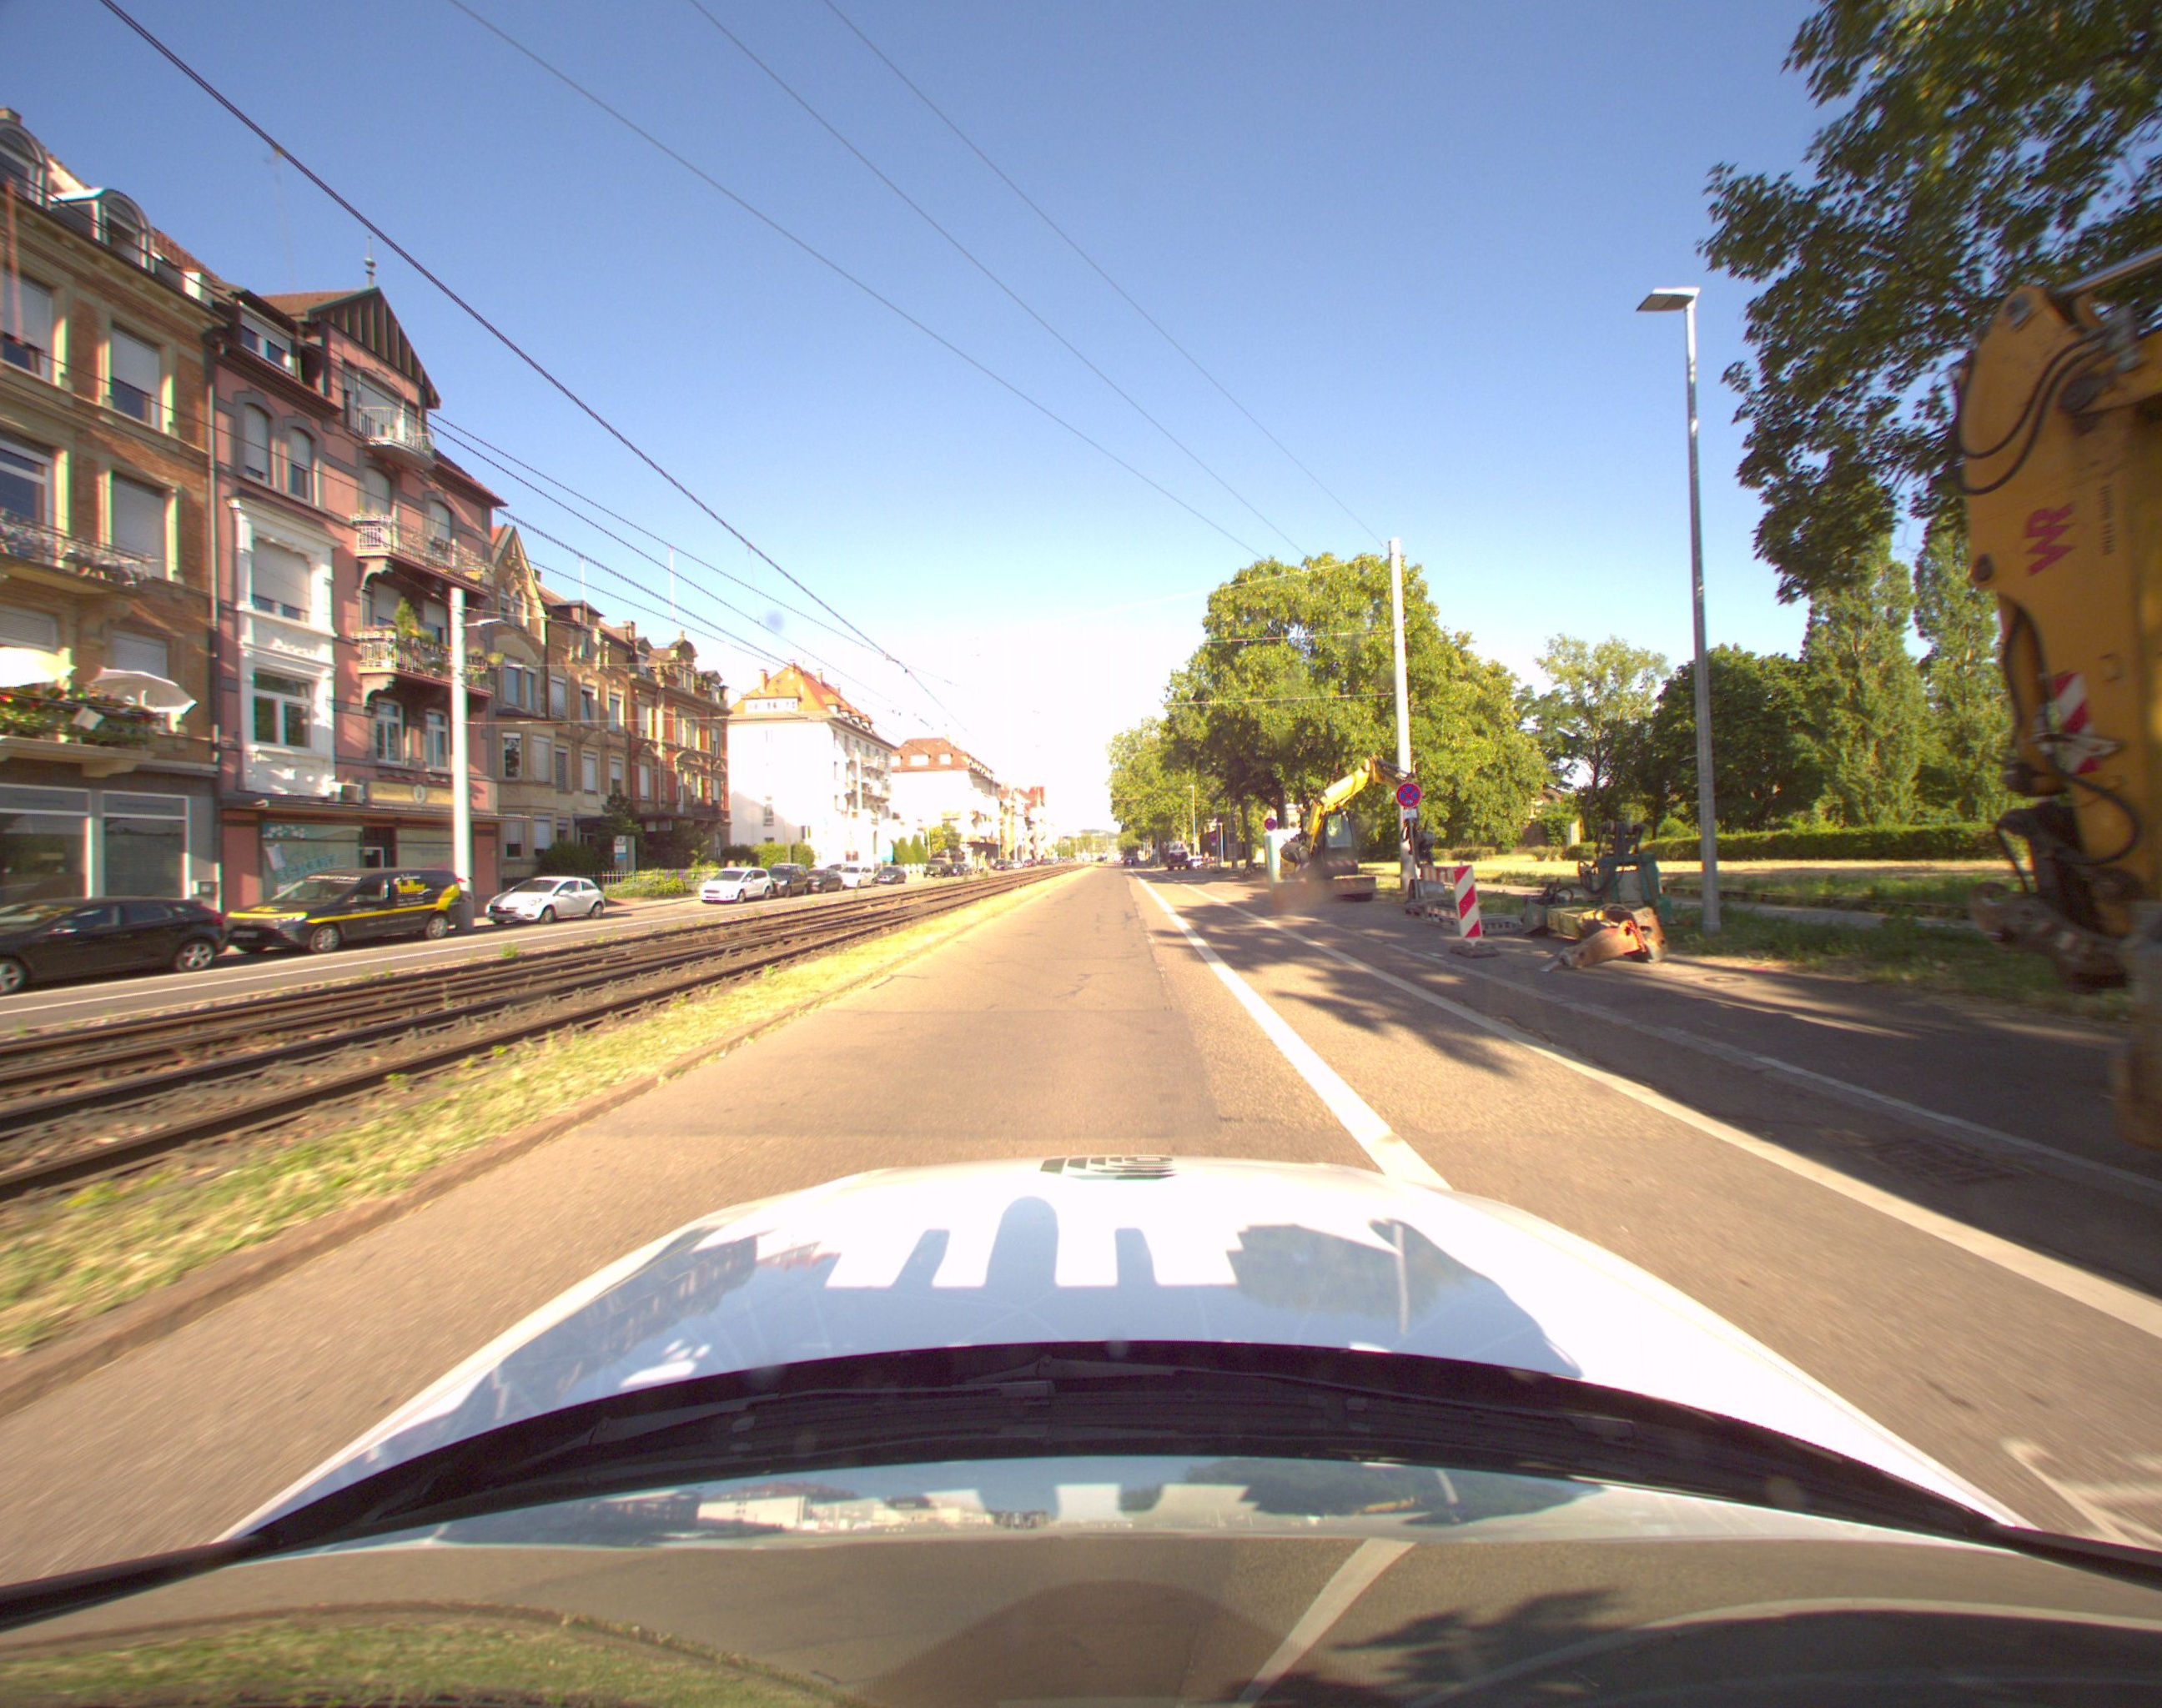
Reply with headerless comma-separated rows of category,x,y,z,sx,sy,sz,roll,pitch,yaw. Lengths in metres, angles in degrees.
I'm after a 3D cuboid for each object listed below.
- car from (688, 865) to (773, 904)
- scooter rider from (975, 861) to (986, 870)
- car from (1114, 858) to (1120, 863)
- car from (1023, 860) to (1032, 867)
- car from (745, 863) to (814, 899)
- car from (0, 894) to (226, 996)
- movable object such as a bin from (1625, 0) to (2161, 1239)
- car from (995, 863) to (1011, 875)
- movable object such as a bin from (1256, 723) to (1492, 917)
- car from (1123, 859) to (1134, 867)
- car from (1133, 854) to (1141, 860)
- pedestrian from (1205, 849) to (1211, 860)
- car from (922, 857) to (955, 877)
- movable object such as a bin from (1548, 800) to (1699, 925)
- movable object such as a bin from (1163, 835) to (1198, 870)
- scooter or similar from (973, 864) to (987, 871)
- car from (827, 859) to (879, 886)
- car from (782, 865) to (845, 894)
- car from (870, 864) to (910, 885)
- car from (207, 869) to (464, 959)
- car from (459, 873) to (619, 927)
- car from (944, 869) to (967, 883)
car,-16.905,1.422,39.578,1.913,1.683,4.631,0,0,3
scooter rider,-12.838,1.501,103.868,0.966,1.089,0.813,-3,0,33
car,10.657,1.927,241.909,1.787,1.510,4.002,0,-1,2
car,-10.930,1.952,166.405,1.829,1.391,4.032,1,0,-2
car,-16.471,1.449,44.752,1.913,1.780,4.501,0,0,3
car,-17.584,1.497,13.906,1.653,1.446,3.983,0,0,3
movable object such as a bin,5.311,-0.972,1.772,2.904,4.610,7.599,-5,0,1
car,-12.246,2.409,128.148,1.855,1.786,4.403,0,0,2
movable object such as a bin,7.248,-0.742,21.652,3.327,3.976,7.599,-5,0,1
car,7.984,1.515,136.927,1.826,1.391,4.161,-1,0,2
car,14.087,0.827,205.295,1.787,1.510,4.002,-1,0,2
pedestrian,19.890,0.130,127.759,0.606,1.681,0.636,-6,0,0
car,-14.864,1.320,85.080,2.067,2.010,5.598,0,0,4
movable object such as a bin,8.338,0.125,12.619,1.311,1.668,1.305,-8,-1,6
movable object such as a bin,9.838,-0.162,81.056,2.732,3.145,7.226,-5,0,4
scooter or similar,-12.866,1.695,103.887,1.549,0.770,0.813,-3,0,33
car,-15.763,1.249,56.578,1.911,1.694,4.849,0,0,5
car,-16.238,1.515,49.734,1.911,1.561,4.849,0,0,5
car,-15.324,1.612,65.654,1.914,1.461,4.843,3,0,1
car,-17.529,1.309,19.555,1.653,1.807,4.732,0,0,3
car,-17.733,1.446,26.977,1.912,1.538,4.633,-1,0,5
car,-14.057,2.491,91.440,1.627,1.507,4.164,-1,-1,4
